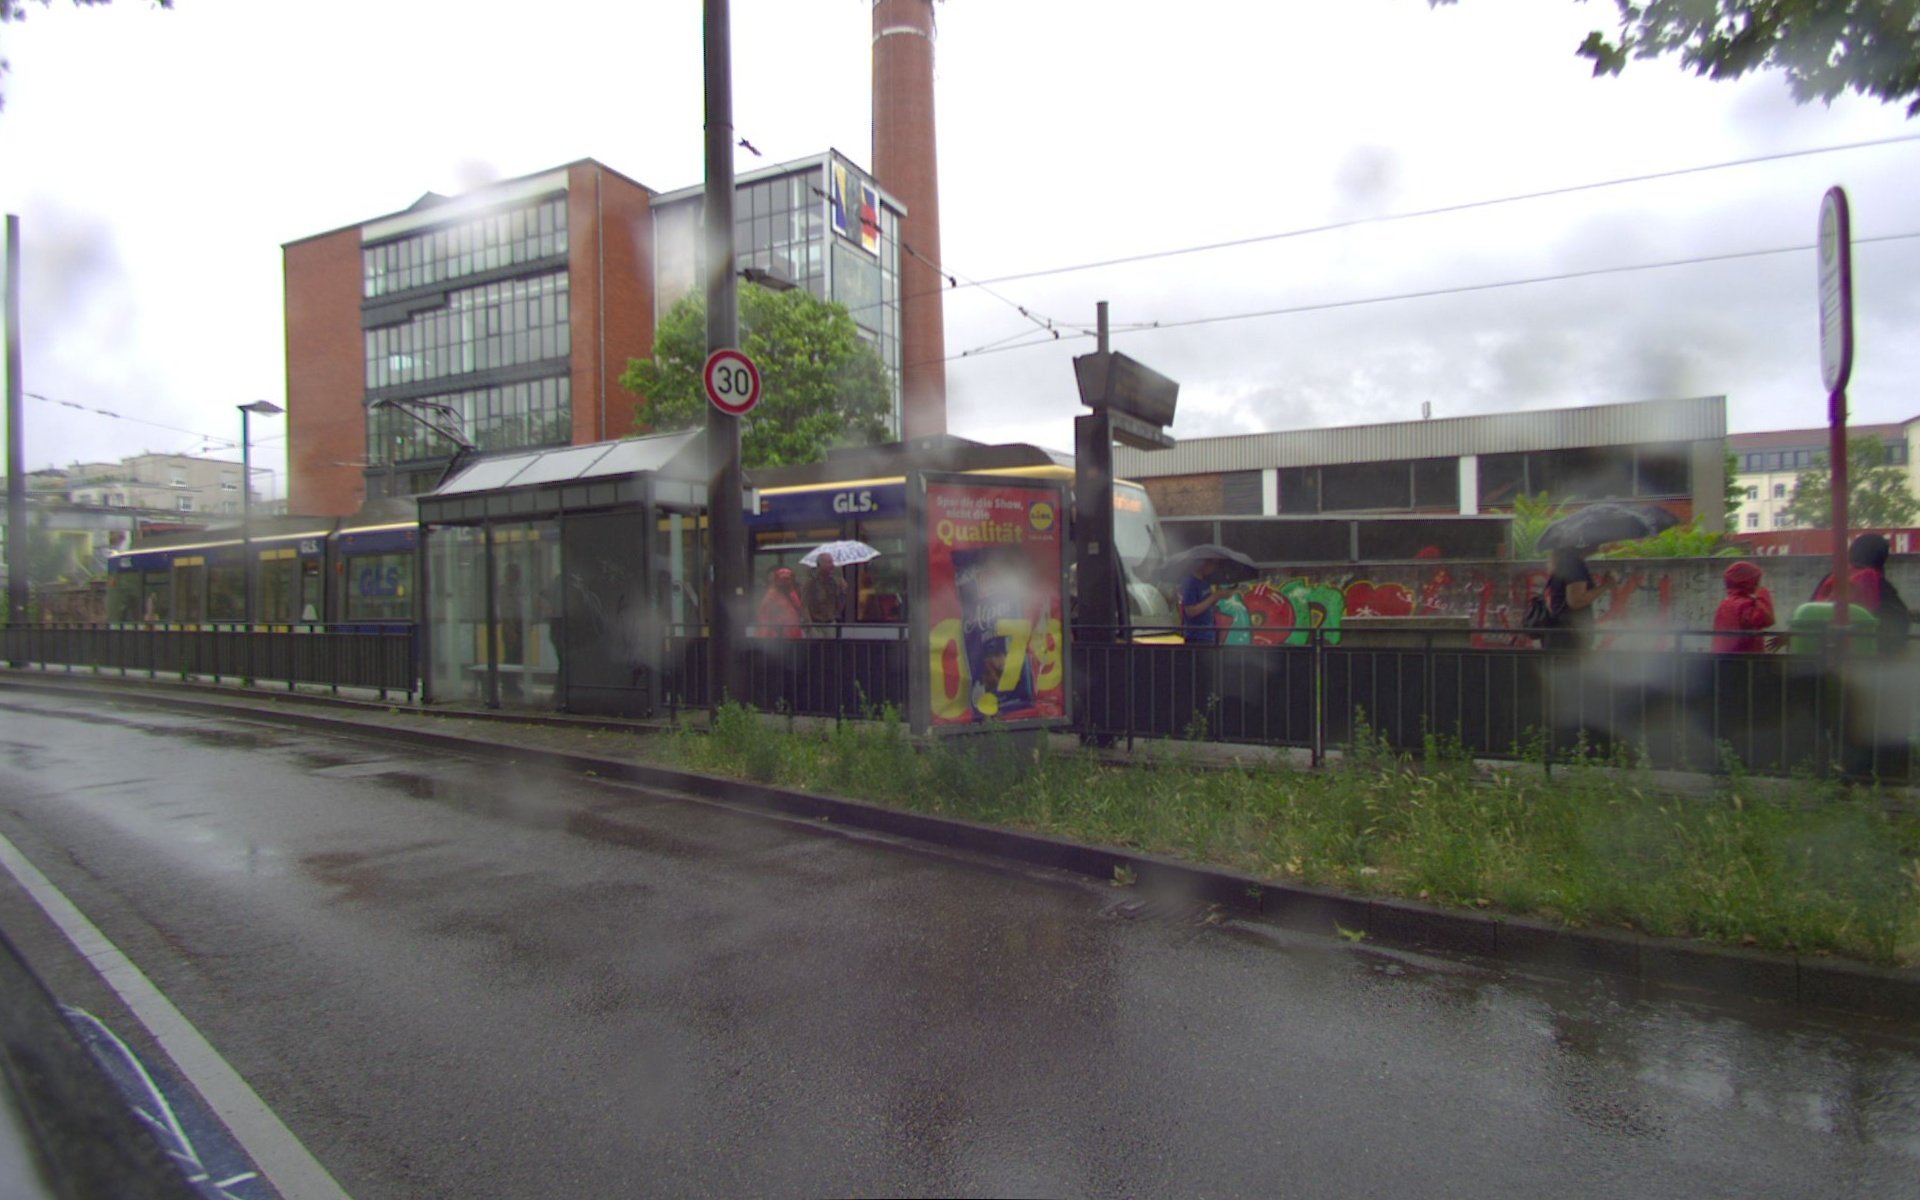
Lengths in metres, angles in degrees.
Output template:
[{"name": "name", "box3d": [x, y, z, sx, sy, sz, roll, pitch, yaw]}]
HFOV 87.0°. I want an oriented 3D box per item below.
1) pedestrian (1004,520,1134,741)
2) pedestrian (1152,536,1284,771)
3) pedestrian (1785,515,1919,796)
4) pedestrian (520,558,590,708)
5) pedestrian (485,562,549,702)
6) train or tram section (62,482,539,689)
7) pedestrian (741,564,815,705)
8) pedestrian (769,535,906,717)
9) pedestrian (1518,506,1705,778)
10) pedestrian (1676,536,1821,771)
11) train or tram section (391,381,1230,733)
[{"name": "pedestrian", "box3d": [0.947, 0.246, 8.663, 0.826, 1.768, 0.860, -1, 0, 26]}, {"name": "pedestrian", "box3d": [2.228, 0.433, 8.703, 0.888, 1.878, 0.863, -1, 0, 29]}, {"name": "pedestrian", "box3d": [5.718, 0.327, 6.264, 0.815, 1.637, 0.723, -3, -2, 34]}, {"name": "pedestrian", "box3d": [-4.911, 0.384, 12.266, 0.620, 1.762, 0.565, -1, 0, -41]}, {"name": "pedestrian", "box3d": [-5.724, 0.400, 13.074, 0.620, 1.762, 0.515, -1, 0, -41]}, {"name": "train or tram section", "box3d": [-15.500, -0.134, 22.729, 15.323, 3.572, 2.838, -1, 0, 32]}, {"name": "pedestrian", "box3d": [-2.121, 0.409, 11.877, 0.651, 1.584, 0.797, -2, -3, 4]}, {"name": "pedestrian", "box3d": [-1.316, 0.299, 10.923, 1.072, 1.840, 0.975, -4, -4, 30]}, {"name": "pedestrian", "box3d": [4.336, 0.284, 6.804, 0.651, 1.696, 0.797, -2, -3, 4]}, {"name": "pedestrian", "box3d": [5.469, 0.352, 7.063, 0.656, 1.531, 0.677, -1, -1, 28]}, {"name": "train or tram section", "box3d": [-3.186, -0.336, 15.046, 13.666, 3.572, 2.839, -1, 0, 31]}]
